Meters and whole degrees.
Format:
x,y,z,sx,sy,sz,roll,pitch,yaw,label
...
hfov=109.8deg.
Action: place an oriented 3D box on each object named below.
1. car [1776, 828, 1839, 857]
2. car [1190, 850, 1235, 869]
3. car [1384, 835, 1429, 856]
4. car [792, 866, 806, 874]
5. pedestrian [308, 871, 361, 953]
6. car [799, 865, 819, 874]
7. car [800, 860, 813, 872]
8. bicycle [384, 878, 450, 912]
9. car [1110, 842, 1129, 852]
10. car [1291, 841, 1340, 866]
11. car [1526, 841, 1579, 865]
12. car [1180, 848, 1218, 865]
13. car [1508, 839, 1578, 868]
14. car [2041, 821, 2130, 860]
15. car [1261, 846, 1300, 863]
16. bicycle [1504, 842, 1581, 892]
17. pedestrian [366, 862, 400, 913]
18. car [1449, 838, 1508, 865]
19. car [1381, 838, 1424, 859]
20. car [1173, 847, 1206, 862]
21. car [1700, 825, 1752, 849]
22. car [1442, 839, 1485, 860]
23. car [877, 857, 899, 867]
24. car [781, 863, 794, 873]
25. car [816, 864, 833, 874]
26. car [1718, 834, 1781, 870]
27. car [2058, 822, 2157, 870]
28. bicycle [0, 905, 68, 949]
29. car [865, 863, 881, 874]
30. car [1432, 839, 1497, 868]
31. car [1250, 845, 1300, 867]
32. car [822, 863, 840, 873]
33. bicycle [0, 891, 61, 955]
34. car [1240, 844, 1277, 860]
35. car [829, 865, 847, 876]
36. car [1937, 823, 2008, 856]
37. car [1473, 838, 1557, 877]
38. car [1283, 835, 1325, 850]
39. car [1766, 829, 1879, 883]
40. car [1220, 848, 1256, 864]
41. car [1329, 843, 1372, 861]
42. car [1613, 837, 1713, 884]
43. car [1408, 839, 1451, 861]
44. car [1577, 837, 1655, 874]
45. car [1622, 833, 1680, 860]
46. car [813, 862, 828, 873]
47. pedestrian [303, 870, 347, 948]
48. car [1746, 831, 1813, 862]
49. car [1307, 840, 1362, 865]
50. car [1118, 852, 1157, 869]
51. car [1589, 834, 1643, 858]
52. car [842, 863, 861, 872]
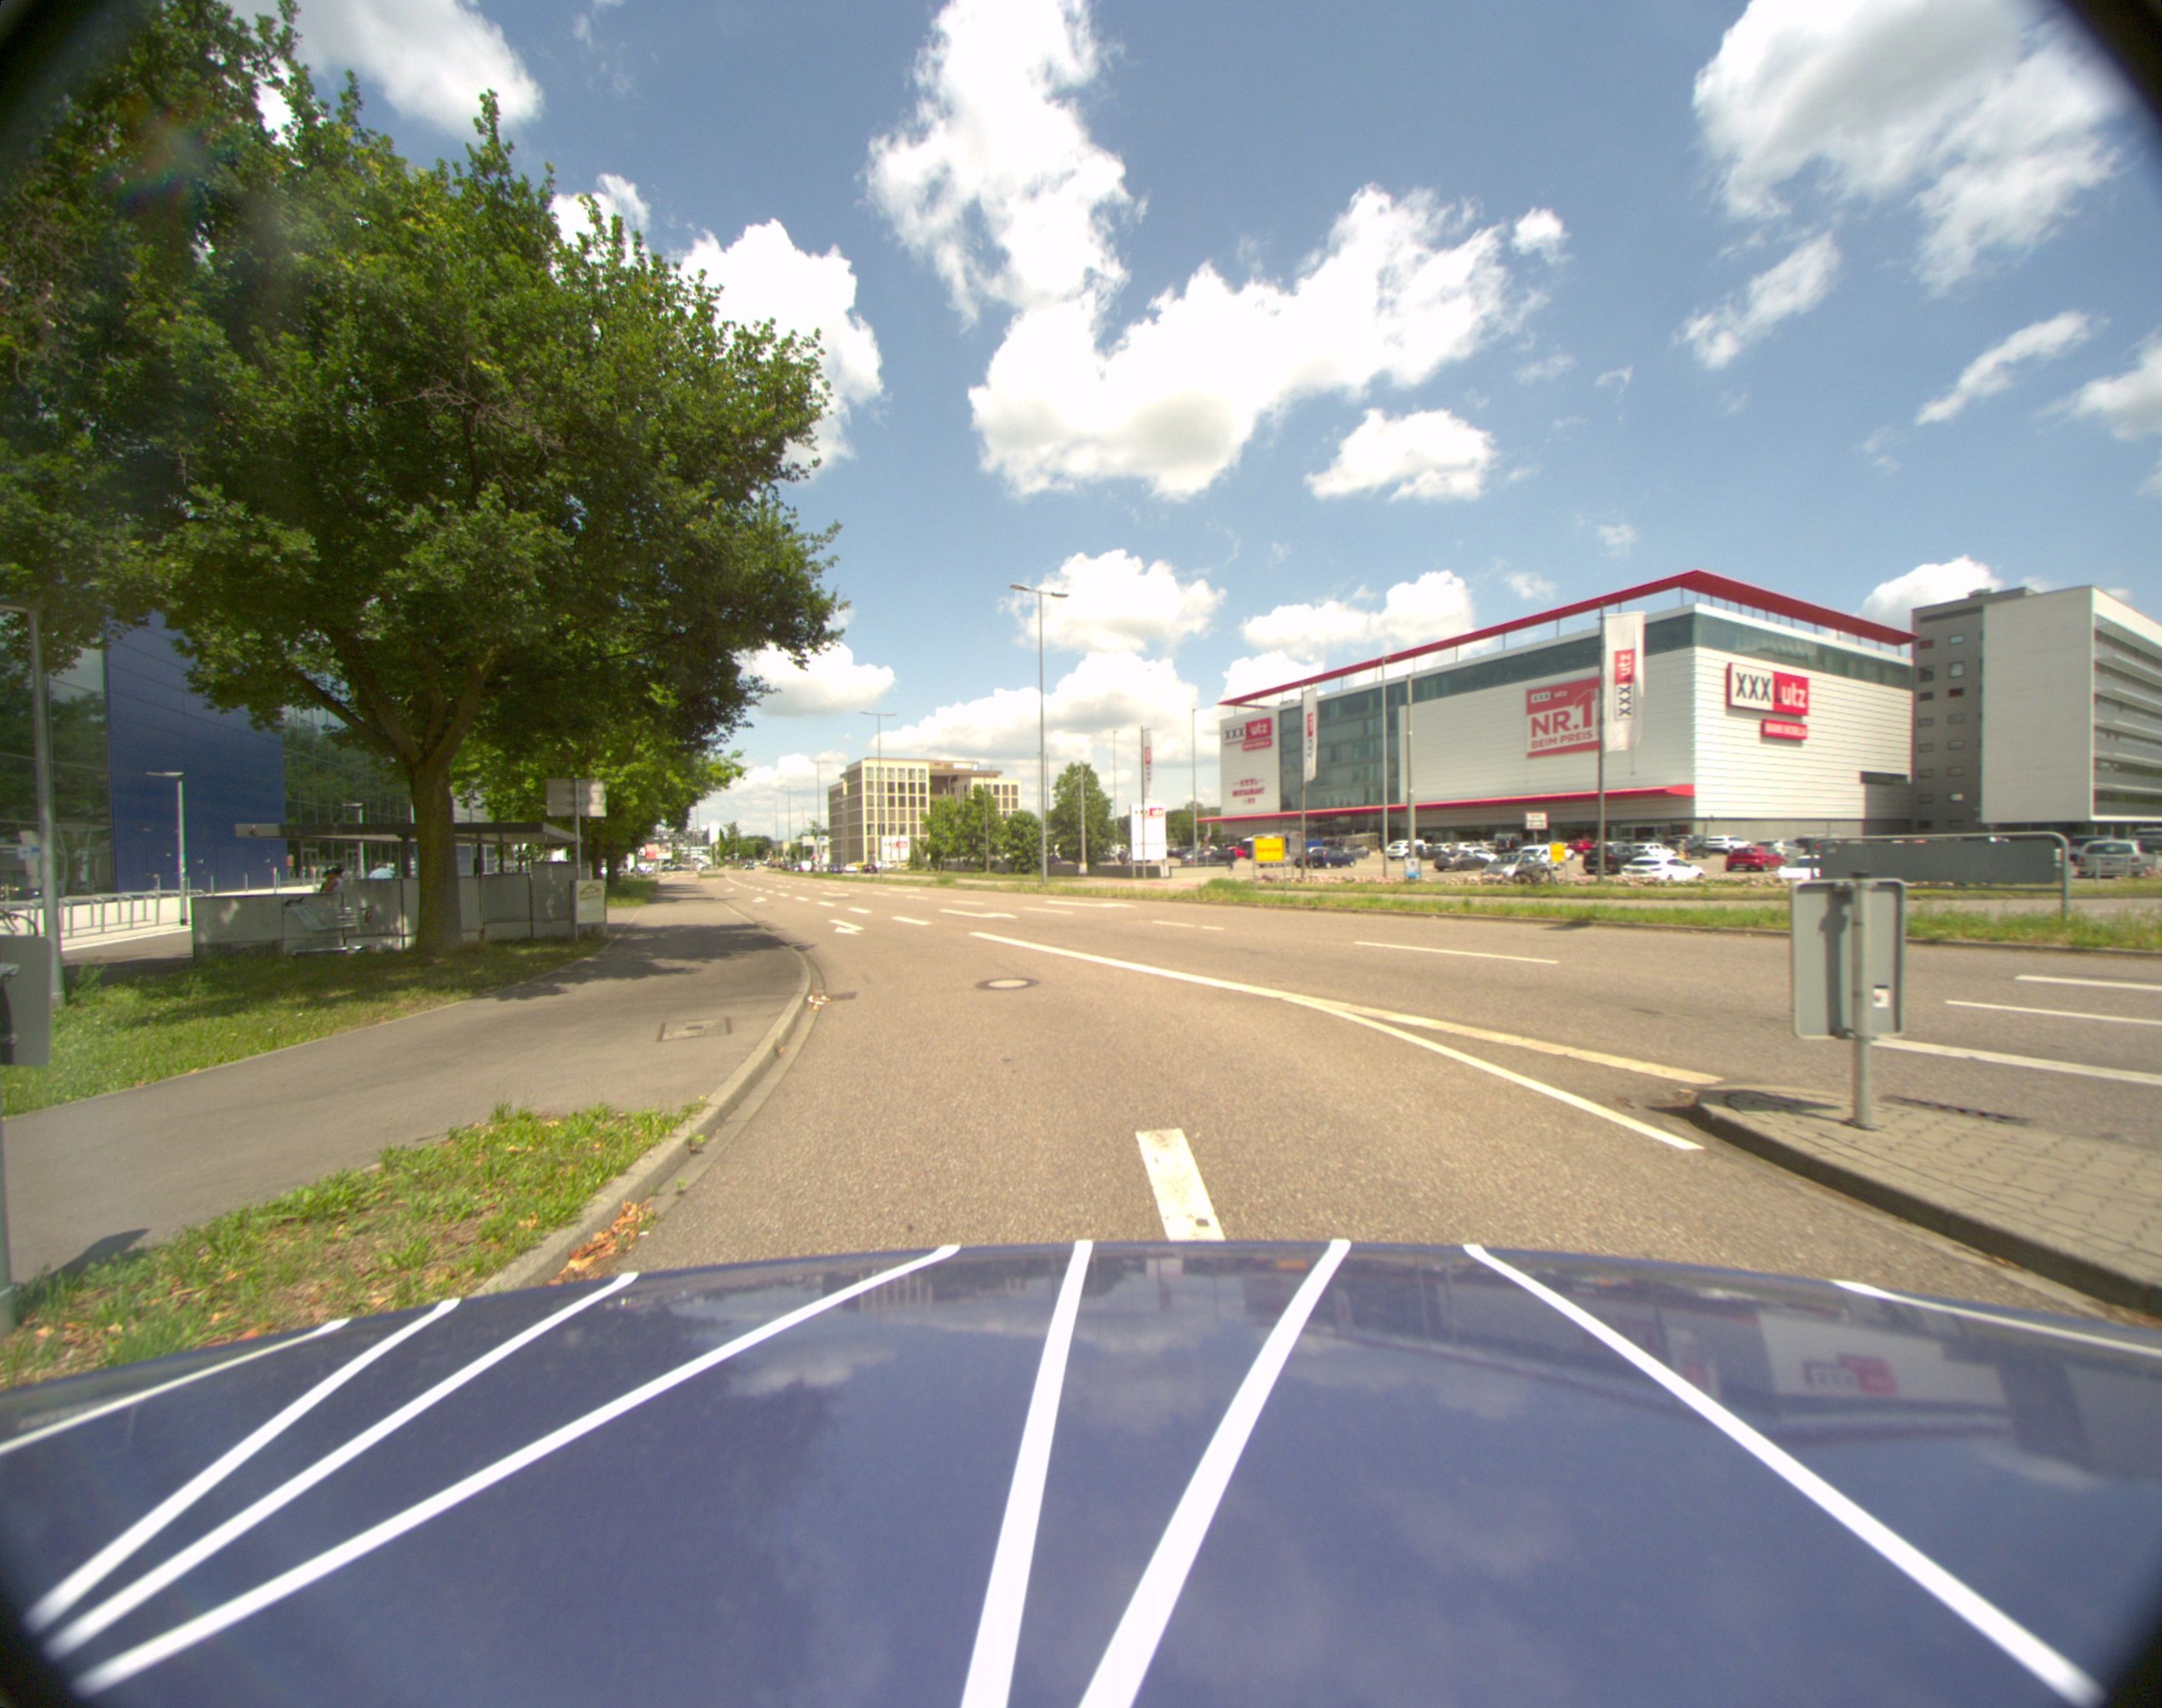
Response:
x,y,z,sx,sy,sz,roll,pitch,yaw,label
51.755,-0.794,54.130,4.369,1.977,1.995,-1,0,-29,car
14.105,0.553,81.546,4.369,1.977,1.995,-1,0,-29,car
33.087,-0.868,77.233,4.369,1.977,1.995,-1,0,-29,car
-46.353,2.603,124.846,1.800,1.243,4.298,-1,-1,-26,car
-15.614,1.192,15.905,0.546,1.653,0.545,-2,1,-17,pedestrian
-46.801,2.683,130.776,3.760,1.551,1.801,-2,-1,45,car
-49.447,2.131,136.782,1.865,2.031,3.569,-1,-1,-25,car
-23.062,1.413,26.408,2.011,1.101,0.577,0,0,10,bicycle
7.517,-1.425,148.694,1.859,1.822,3.825,-1,0,-29,car
20.949,-0.064,67.947,4.090,1.978,1.838,-3,1,-29,car
39.922,-0.102,64.332,4.092,1.977,1.995,-1,0,-29,car
14.328,0.281,92.308,4.307,2.030,1.987,-1,0,-29,car
30.291,-0.049,49.802,4.369,1.829,1.995,-1,0,-29,car
53.411,-0.720,40.382,4.369,1.977,2.244,-1,0,-29,car
24.378,0.066,92.769,4.369,1.977,1.995,-1,0,-29,car
16.149,0.459,26.631,1.022,1.665,2.044,-1,0,-28,bicycle
-24.105,1.154,26.244,0.523,1.712,0.635,0,1,12,pedestrian
31.100,-0.232,59.380,4.369,1.978,1.995,-1,2,-29,car
35.633,-0.618,84.228,4.578,2.293,1.866,-1,0,-29,car
15.576,0.049,109.479,4.369,1.977,1.995,-1,0,-29,car
56.185,-1.492,66.206,4.091,1.977,1.996,-1,0,-27,car
38.944,-0.499,77.321,4.006,2.002,1.996,-1,0,-29,car
-39.867,1.588,157.050,4.005,2.002,1.996,-1,0,-24,car
-52.285,2.459,135.382,1.800,1.635,4.162,-1,-1,-25,car
-40.035,2.349,118.448,1.800,1.393,4.835,-1,-1,-26,car
39.261,-0.126,44.576,5.319,1.977,1.994,-1,0,-40,car
44.679,-0.347,33.052,4.369,1.977,1.995,-1,0,-29,car
-22.849,1.551,15.944,1.871,0.876,0.469,-1,0,-28,bicycle
-30.343,2.127,110.737,1.626,1.461,4.108,-1,0,-23,car
27.488,-0.035,54.446,4.369,1.977,1.995,-1,0,-29,car
18.347,0.196,71.911,4.369,1.977,1.995,-1,0,-29,car
-37.011,2.124,112.471,1.800,1.409,4.664,1,-1,-26,car
-22.043,1.380,15.058,2.149,1.222,0.720,0,0,-18,bicycle
22.593,-0.305,96.849,4.369,1.977,1.995,-1,0,-29,car
-33.428,2.239,104.393,1.747,1.466,3.668,-1,1,-26,car
55.168,-0.884,47.026,4.369,1.977,1.995,-1,0,-29,car
23.688,0.175,41.447,4.369,1.977,1.995,-1,0,-29,car
28.725,-1.484,97.635,5.142,1.768,2.194,-1,0,-29,car
29.261,0.041,29.998,4.005,2.002,1.996,-1,0,-27,car
21.051,0.270,101.953,4.369,1.977,1.995,-1,0,-29,car
29.797,-0.212,83.914,4.369,1.977,1.996,-1,0,-27,car
26.443,0.275,34.517,4.369,1.977,1.995,-1,0,-29,car
34.321,-0.398,74.810,4.006,2.002,1.773,-1,0,-29,car
32.280,0.062,45.818,4.603,1.978,1.995,-2,2,-29,car
43.113,-0.555,57.418,4.092,1.977,1.995,-1,0,-29,car
-42.763,2.250,124.560,1.800,1.691,4.218,-1,-1,-26,car
-16.501,1.190,16.595,0.547,1.652,0.477,-2,0,-30,pedestrian
47.076,-0.500,51.175,4.634,1.977,1.995,-1,0,-30,car
21.917,-0.104,65.727,4.369,1.978,1.995,-2,1,-29,car
6.989,0.855,94.091,4.369,1.977,1.996,-1,-1,-29,car
45.224,-0.680,64.187,4.369,1.871,1.995,-1,0,-29,car
-37.638,2.168,124.430,1.627,1.464,4.348,-1,-1,-36,car
